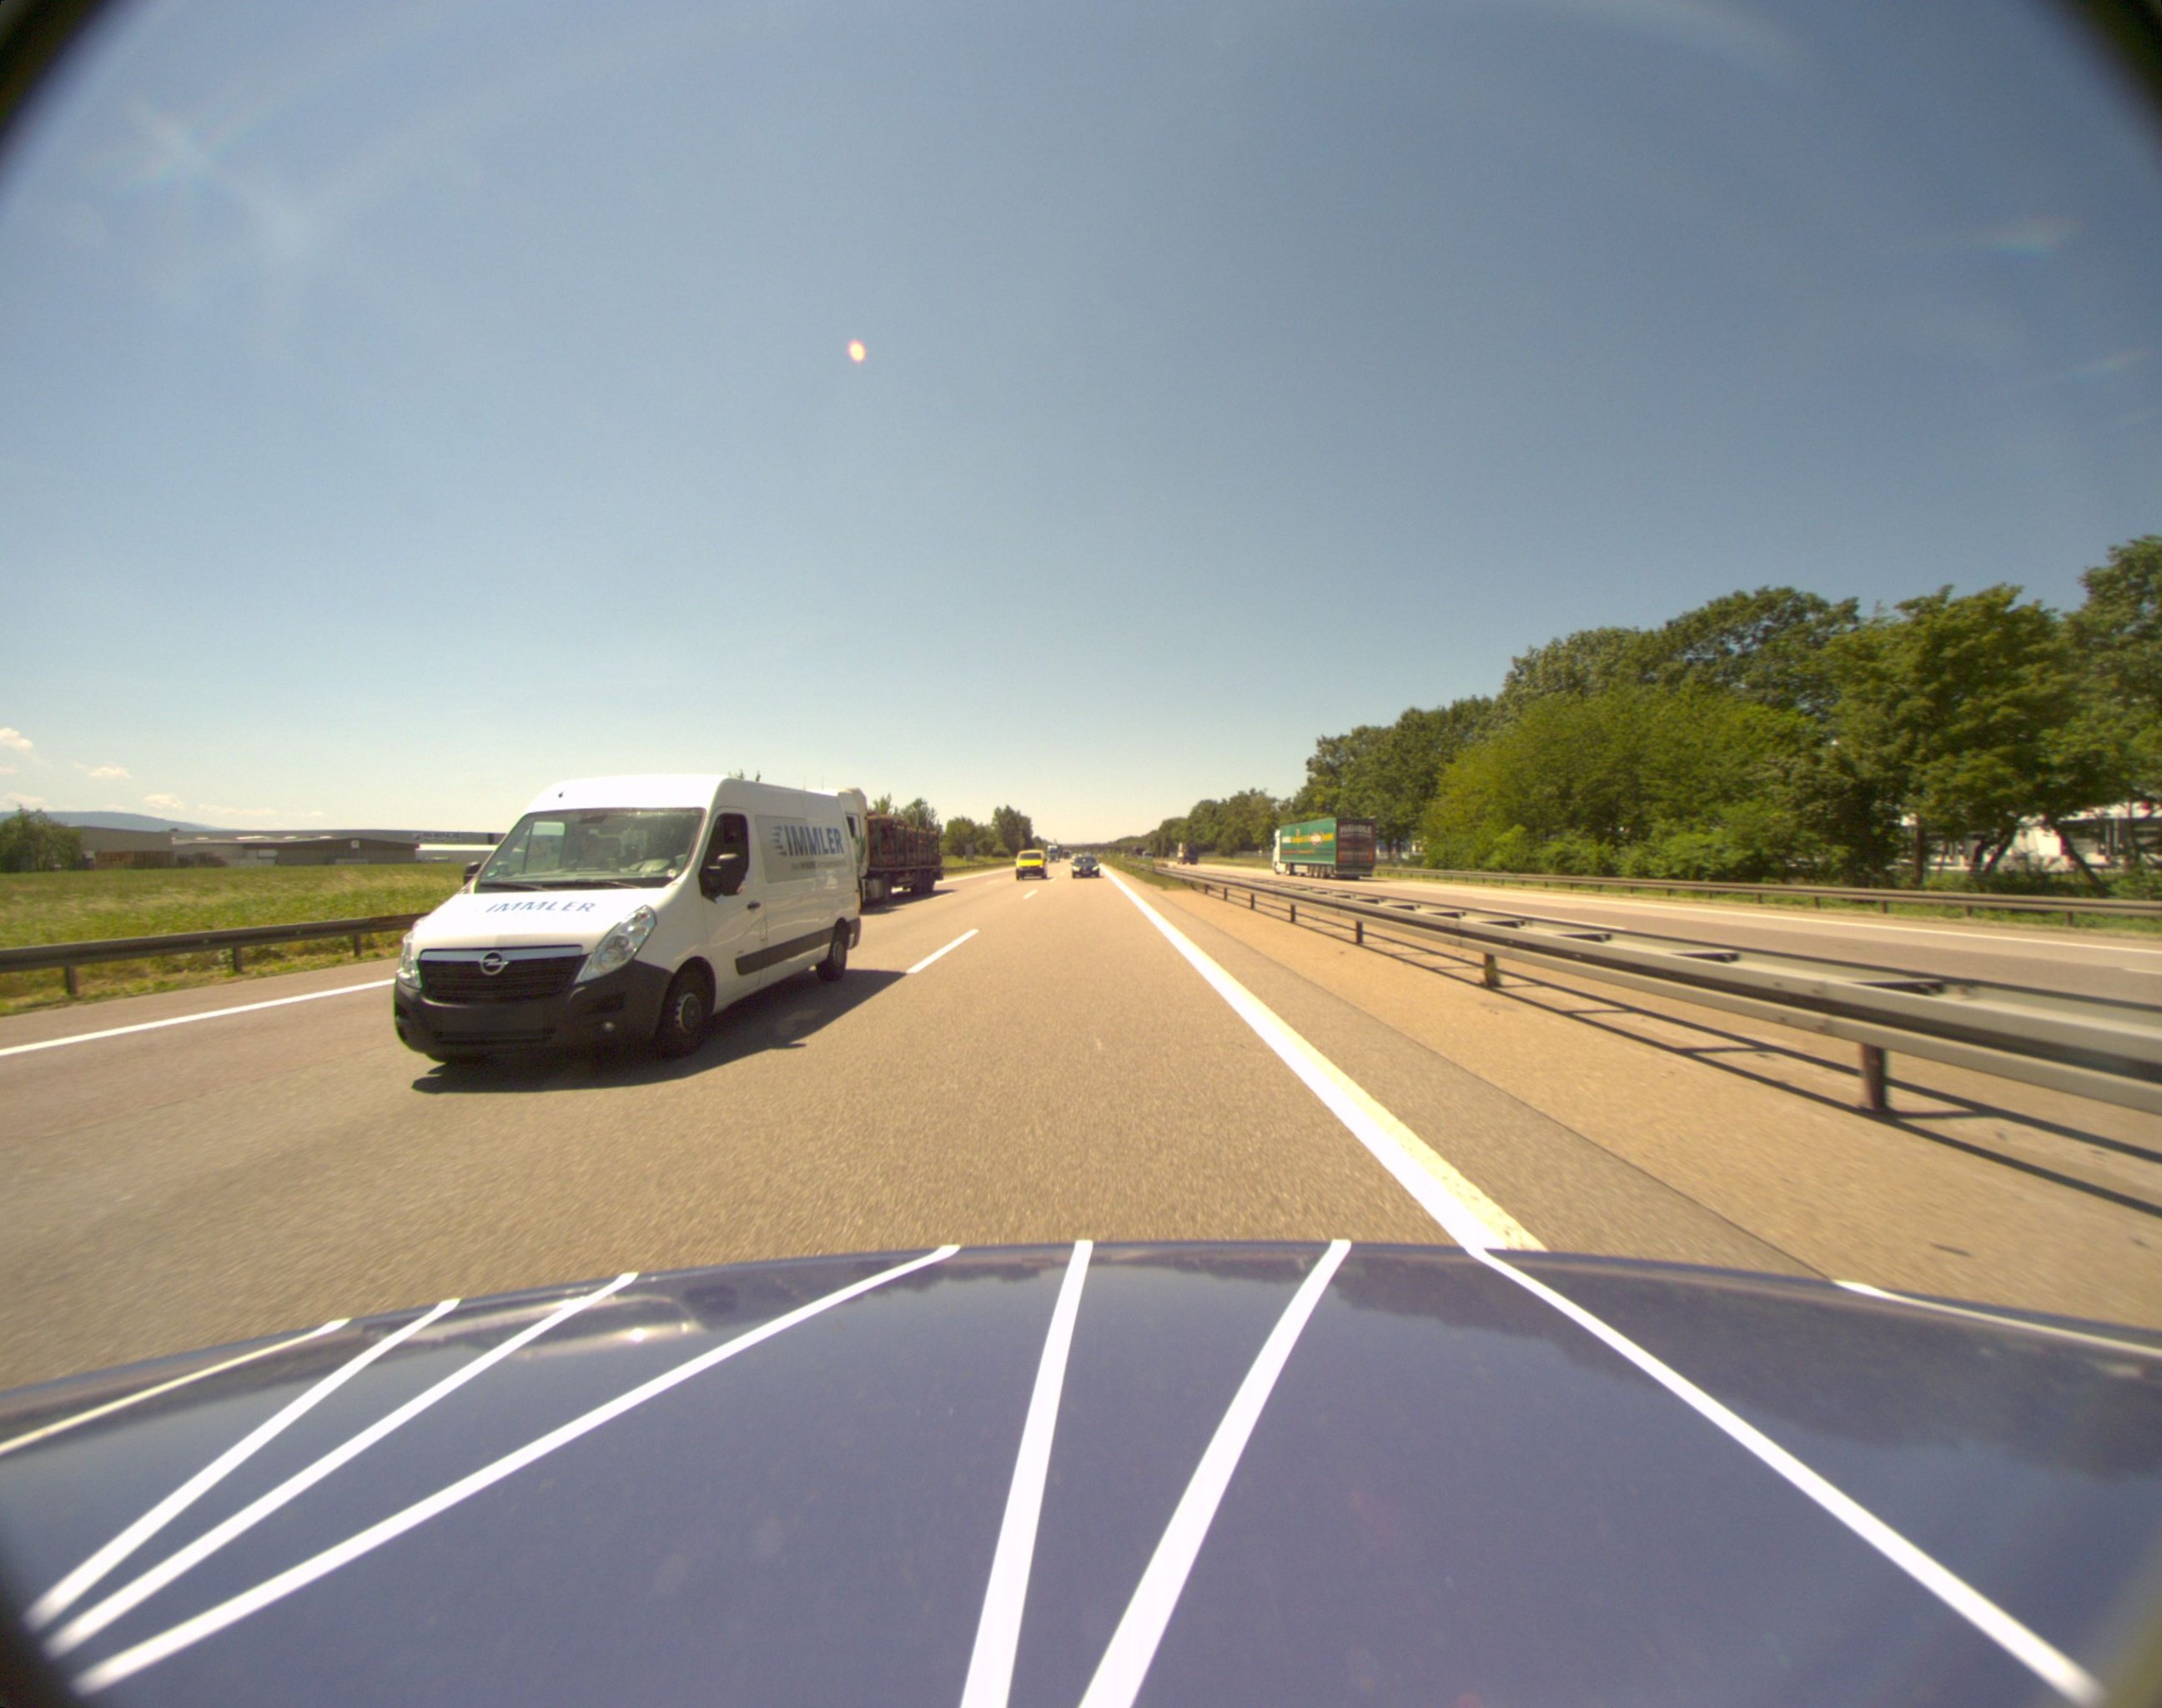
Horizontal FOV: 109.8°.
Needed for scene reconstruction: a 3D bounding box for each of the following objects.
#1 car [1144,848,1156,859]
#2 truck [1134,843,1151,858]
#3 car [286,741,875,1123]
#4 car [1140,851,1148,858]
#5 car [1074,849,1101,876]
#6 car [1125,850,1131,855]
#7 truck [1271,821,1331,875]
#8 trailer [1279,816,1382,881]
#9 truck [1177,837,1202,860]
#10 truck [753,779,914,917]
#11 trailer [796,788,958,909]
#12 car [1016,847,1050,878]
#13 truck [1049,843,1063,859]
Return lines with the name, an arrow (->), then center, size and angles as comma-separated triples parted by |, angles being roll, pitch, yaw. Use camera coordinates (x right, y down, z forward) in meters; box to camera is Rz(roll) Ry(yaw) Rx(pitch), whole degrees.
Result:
car -> 15.003, -0.081, 165.784 | 2.318, 2.275, 5.603 | 1, 0, 1
truck -> 19.785, -1.075, 246.212 | 4.429, 4.580, 11.978 | -2, 1, 0
car -> -4.158, 0.503, 8.068 | 2.159, 2.494, 5.945 | -2, 1, 1
car -> 15.289, 0.110, 184.908 | 1.916, 1.695, 3.781 | 1, 0, 3
car -> 0.442, 0.556, 51.315 | 1.690, 1.646, 3.461 | -2, 1, 1
car -> 15.712, -0.528, 254.167 | 1.682, 1.645, 3.850 | -2, 1, 1
truck -> 17.414, -0.474, 60.630 | 2.884, 4.020, 6.331 | 2, 1, 1
trailer -> 17.333, -0.408, 54.194 | 2.884, 4.020, 13.679 | 2, 1, 1
truck -> 18.463, -0.901, 130.088 | 3.012, 3.769, 9.600 | 0, 1, 0
truck -> -8.085, -0.188, 26.068 | 2.699, 3.943, 7.703 | -2, 0, 1
trailer -> -7.956, -0.221, 32.383 | 2.699, 3.943, 13.961 | -2, 0, 1
car -> -3.210, 0.532, 51.446 | 1.958, 1.939, 4.000 | -2, 1, 1
truck -> -5.962, -0.726, 182.699 | 2.976, 3.626, 7.148 | -2, 1, -1
